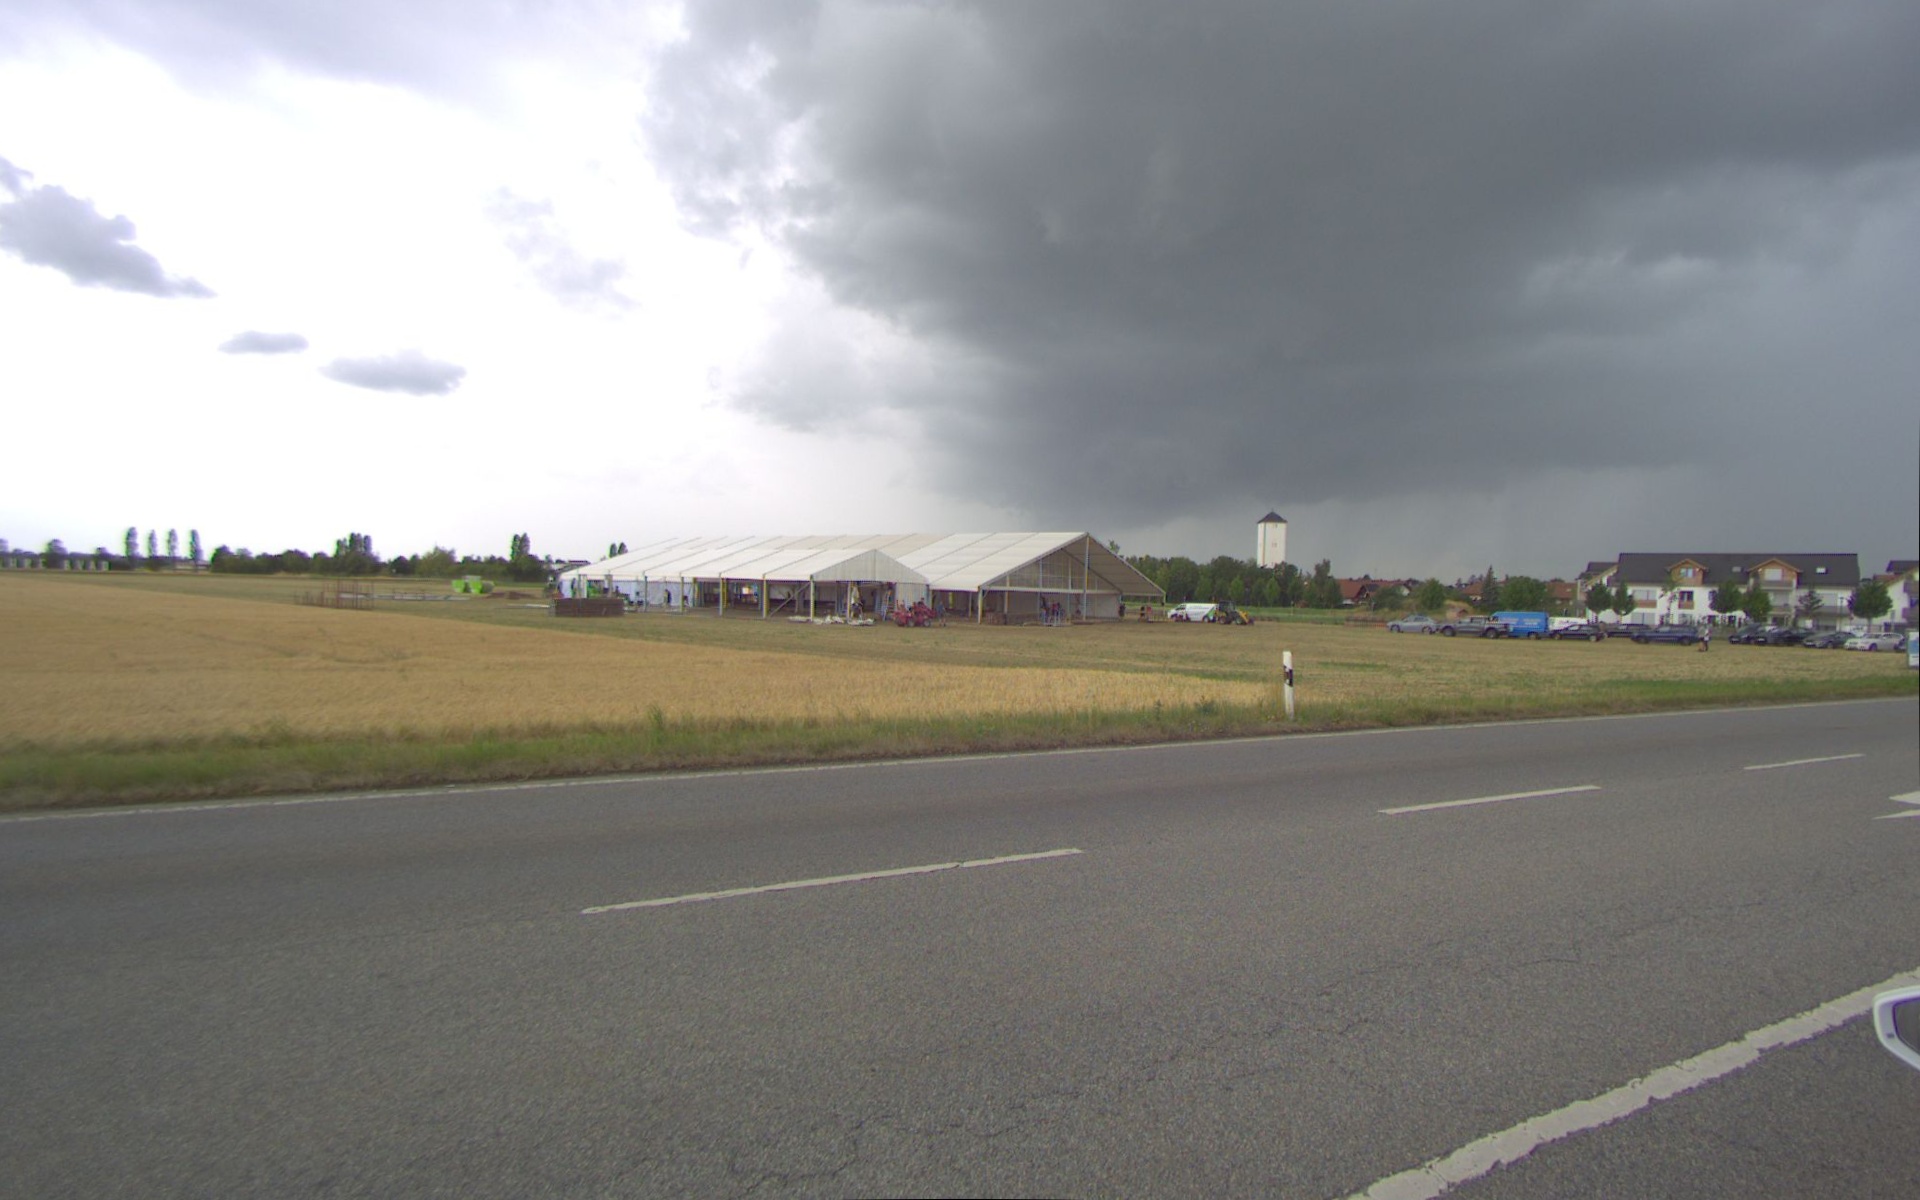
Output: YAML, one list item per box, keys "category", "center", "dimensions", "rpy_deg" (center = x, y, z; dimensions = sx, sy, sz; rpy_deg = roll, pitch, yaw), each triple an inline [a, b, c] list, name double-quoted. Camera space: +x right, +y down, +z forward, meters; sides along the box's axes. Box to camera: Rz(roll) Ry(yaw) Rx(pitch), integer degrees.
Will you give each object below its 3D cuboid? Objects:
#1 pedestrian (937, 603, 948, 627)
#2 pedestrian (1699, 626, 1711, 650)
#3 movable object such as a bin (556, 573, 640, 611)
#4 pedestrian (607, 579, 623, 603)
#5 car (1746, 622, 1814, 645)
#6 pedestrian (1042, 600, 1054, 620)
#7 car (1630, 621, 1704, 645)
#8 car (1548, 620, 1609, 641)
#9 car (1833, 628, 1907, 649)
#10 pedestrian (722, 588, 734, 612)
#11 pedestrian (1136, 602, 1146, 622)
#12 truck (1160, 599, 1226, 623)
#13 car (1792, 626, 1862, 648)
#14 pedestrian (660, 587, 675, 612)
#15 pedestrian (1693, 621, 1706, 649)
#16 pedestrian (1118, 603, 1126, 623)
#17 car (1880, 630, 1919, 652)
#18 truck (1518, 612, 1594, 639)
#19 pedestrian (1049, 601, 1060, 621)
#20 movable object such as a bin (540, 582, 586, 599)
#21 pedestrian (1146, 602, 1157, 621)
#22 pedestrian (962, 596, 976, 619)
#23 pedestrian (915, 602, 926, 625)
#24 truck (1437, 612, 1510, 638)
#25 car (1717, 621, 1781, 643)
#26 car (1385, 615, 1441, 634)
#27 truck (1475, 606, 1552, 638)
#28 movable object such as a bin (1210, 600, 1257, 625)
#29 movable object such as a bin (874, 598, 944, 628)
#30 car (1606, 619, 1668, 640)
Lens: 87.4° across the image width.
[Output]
- category: "pedestrian"
  center: [-1.240, 1.036, 70.706]
  dimensions: [0.536, 1.649, 0.551]
  rpy_deg: [2, 0, 23]
- category: "pedestrian"
  center: [50.583, 2.565, 68.190]
  dimensions: [0.583, 1.576, 0.623]
  rpy_deg: [2, 0, 42]
- category: "movable object such as a bin"
  center: [-33.872, -0.767, 93.852]
  dimensions: [7.468, 3.219, 4.139]
  rpy_deg: [3, 1, 40]
- category: "pedestrian"
  center: [-29.502, -0.772, 85.905]
  dimensions: [1.010, 2.040, 0.803]
  rpy_deg: [2, 0, 41]
- category: "car"
  center: [65.570, 2.685, 80.324]
  dimensions: [4.137, 1.650, 1.996]
  rpy_deg: [1, 0, -11]
- category: "pedestrian"
  center: [8.037, 0.930, 91.638]
  dimensions: [0.721, 1.803, 0.756]
  rpy_deg: [2, 0, 40]
- category: "car"
  center: [56.686, 2.624, 80.589]
  dimensions: [4.661, 1.719, 1.990]
  rpy_deg: [2, 0, 41]
- category: "car"
  center: [51.855, 2.544, 84.282]
  dimensions: [4.106, 1.539, 1.990]
  rpy_deg: [2, 0, 41]
- category: "car"
  center: [67.660, 2.853, 74.716]
  dimensions: [4.137, 1.465, 1.996]
  rpy_deg: [1, 0, -11]
- category: "pedestrian"
  center: [-20.410, -0.003, 88.213]
  dimensions: [0.926, 2.130, 0.864]
  rpy_deg: [2, 0, -18]
- category: "pedestrian"
  center: [17.421, 1.143, 96.831]
  dimensions: [0.699, 1.890, 0.622]
  rpy_deg: [1, 0, -24]
- category: "truck"
  center: [23.827, 1.080, 102.912]
  dimensions: [5.961, 2.246, 2.713]
  rpy_deg: [2, 0, 34]
- category: "car"
  center: [66.729, 2.856, 77.344]
  dimensions: [4.137, 1.556, 1.996]
  rpy_deg: [1, 0, -11]
- category: "pedestrian"
  center: [-23.989, -0.022, 82.362]
  dimensions: [1.007, 2.040, 0.805]
  rpy_deg: [2, 0, -9]
- category: "pedestrian"
  center: [49.796, 2.356, 67.607]
  dimensions: [0.673, 1.809, 0.543]
  rpy_deg: [1, 0, -41]
- category: "pedestrian"
  center: [14.709, 1.195, 91.321]
  dimensions: [0.680, 1.799, 0.691]
  rpy_deg: [2, 0, 10]
- category: "car"
  center: [68.701, 2.961, 71.985]
  dimensions: [4.137, 1.465, 1.996]
  rpy_deg: [1, 0, -11]
- category: "truck"
  center: [52.734, 2.235, 88.933]
  dimensions: [5.495, 2.226, 2.596]
  rpy_deg: [2, 0, 38]
- category: "pedestrian"
  center: [8.587, 1.026, 90.998]
  dimensions: [0.646, 1.767, 0.724]
  rpy_deg: [2, 0, 40]
- category: "movable object such as a bin"
  center: [-54.787, -1.306, 138.767]
  dimensions: [2.529, 2.040, 5.385]
  rpy_deg: [2, 0, 41]
- category: "pedestrian"
  center: [18.244, 1.094, 95.746]
  dimensions: [0.680, 1.799, 0.691]
  rpy_deg: [2, 0, 41]
- category: "pedestrian"
  center: [0.811, 0.700, 90.406]
  dimensions: [0.757, 2.040, 0.873]
  rpy_deg: [2, 0, 41]
- category: "pedestrian"
  center: [-2.847, 0.954, 72.073]
  dimensions: [0.577, 1.649, 0.467]
  rpy_deg: [2, 0, -30]
- category: "truck"
  center: [42.533, 2.032, 83.253]
  dimensions: [5.156, 1.946, 2.106]
  rpy_deg: [2, 0, 35]
- category: "car"
  center: [65.950, 2.683, 83.957]
  dimensions: [4.137, 1.650, 1.996]
  rpy_deg: [1, 0, -11]
- category: "car"
  center: [40.439, 2.186, 89.730]
  dimensions: [4.237, 1.481, 1.886]
  rpy_deg: [2, 0, 35]
- category: "truck"
  center: [46.590, 1.864, 84.573]
  dimensions: [5.380, 2.478, 2.384]
  rpy_deg: [2, 0, 38]
- category: "movable object such as a bin"
  center: [26.357, 1.199, 96.858]
  dimensions: [3.929, 2.273, 1.881]
  rpy_deg: [2, 0, 33]
- category: "movable object such as a bin"
  center: [-3.455, 0.911, 69.071]
  dimensions: [2.556, 1.889, 4.456]
  rpy_deg: [2, 0, 37]
- category: "car"
  center: [62.883, 2.746, 93.350]
  dimensions: [4.571, 1.719, 1.990]
  rpy_deg: [2, 0, 41]
